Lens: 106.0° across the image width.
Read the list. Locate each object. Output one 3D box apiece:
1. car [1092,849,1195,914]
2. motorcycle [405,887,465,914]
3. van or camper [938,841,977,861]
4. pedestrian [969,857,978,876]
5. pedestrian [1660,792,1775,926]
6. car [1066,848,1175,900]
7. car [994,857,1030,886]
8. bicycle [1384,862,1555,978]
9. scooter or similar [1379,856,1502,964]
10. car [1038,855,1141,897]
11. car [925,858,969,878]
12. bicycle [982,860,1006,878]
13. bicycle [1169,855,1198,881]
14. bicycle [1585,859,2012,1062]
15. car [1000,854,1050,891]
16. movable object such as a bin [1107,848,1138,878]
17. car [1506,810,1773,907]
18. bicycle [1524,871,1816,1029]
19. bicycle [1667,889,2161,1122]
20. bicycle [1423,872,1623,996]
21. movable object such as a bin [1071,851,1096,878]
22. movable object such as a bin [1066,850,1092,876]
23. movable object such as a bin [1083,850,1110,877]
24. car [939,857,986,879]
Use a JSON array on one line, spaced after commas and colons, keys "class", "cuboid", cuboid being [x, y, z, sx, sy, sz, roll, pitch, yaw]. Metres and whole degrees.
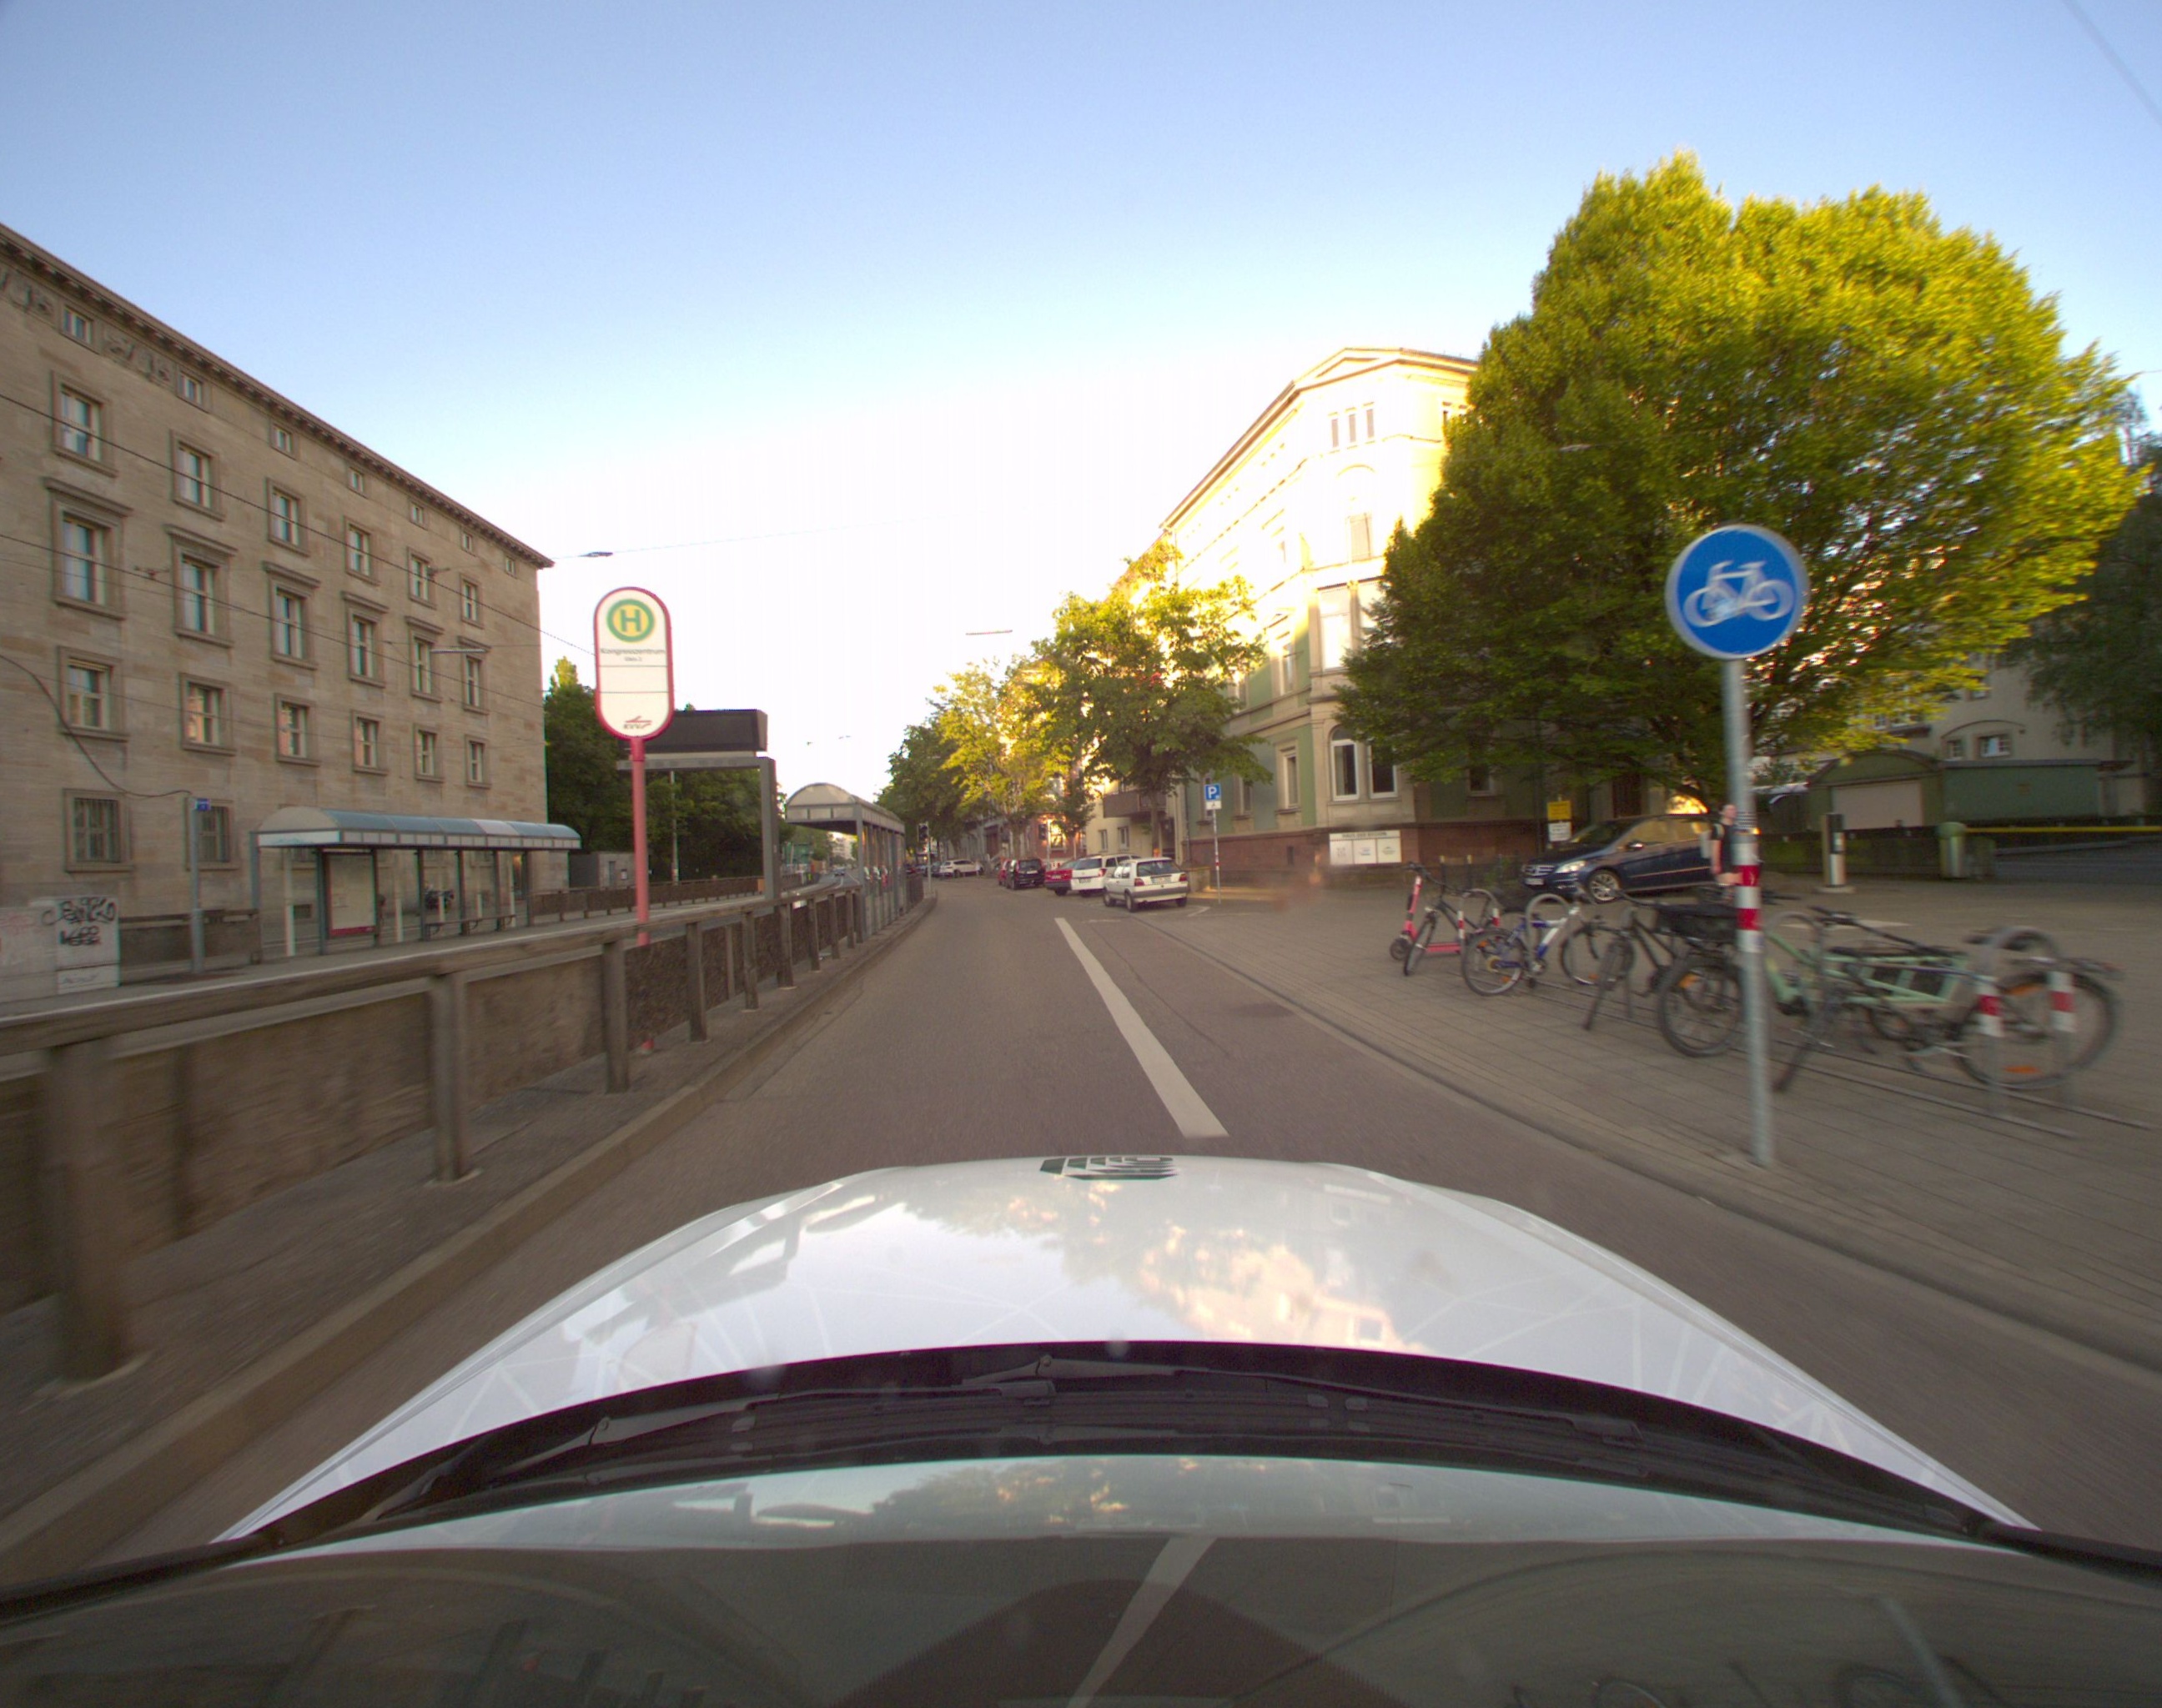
[{"class": "car", "cuboid": [1.687, 0.740, 23.547, 1.683, 1.552, 3.981, -6, 1, -14]}, {"class": "motorcycle", "cuboid": [-29.684, 2.127, 37.477, 0.697, 1.074, 2.650, -3, 0, -3]}, {"class": "van or camper", "cuboid": [-18.353, -0.481, 120.852, 2.059, 2.530, 5.586, -5, 1, 39]}, {"class": "pedestrian", "cuboid": [-9.161, 1.093, 69.615, 0.588, 1.609, 0.621, -2, 0, -17]}, {"class": "pedestrian", "cuboid": [8.873, 0.068, 11.384, 0.708, 1.768, 0.983, -2, 0, -18]}, {"class": "car", "cuboid": [1.538, 0.702, 30.297, 1.700, 1.725, 4.236, -2, 0, 42]}, {"class": "car", "cuboid": [-4.070, 1.002, 47.375, 1.566, 1.536, 3.678, -5, 0, -12]}, {"class": "bicycle", "cuboid": [4.293, 0.703, 9.077, 1.522, 1.162, 0.743, -2, 0, -2]}, {"class": "scooter or similar", "cuboid": [4.465, 0.679, 10.170, 1.197, 1.225, 0.590, -4, 0, -3]}, {"class": "car", "cuboid": [0.414, 0.839, 32.635, 1.624, 1.454, 4.235, -3, 0, 44]}, {"class": "car", "cuboid": [-13.267, 1.376, 80.856, 1.877, 1.668, 3.981, -5, 1, 36]}, {"class": "bicycle", "cuboid": [-6.695, 1.155, 62.647, 0.594, 1.266, 1.931, -3, 0, 39]}, {"class": "bicycle", "cuboid": [4.446, 0.599, 35.540, 0.652, 1.074, 1.547, -2, 0, -17]}, {"class": "bicycle", "cuboid": [4.762, 0.667, 5.505, 2.224, 1.132, 0.743, -4, 0, -2]}, {"class": "car", "cuboid": [-2.912, 0.925, 41.455, 1.746, 1.632, 4.069, -5, 0, -14]}, {"class": "movable object such as a bin", "cuboid": [2.160, 0.468, 42.775, 1.116, 1.502, 1.473, -2, 0, -17]}, {"class": "car", "cuboid": [10.646, 0.062, 15.697, 3.976, 1.574, 1.801, -3, 1, -4]}, {"class": "bicycle", "cuboid": [4.567, 0.712, 6.400, 1.750, 1.074, 0.743, -2, 0, -2]}, {"class": "bicycle", "cuboid": [4.452, 0.776, 4.452, 1.846, 1.074, 0.747, -2, 0, 14]}, {"class": "bicycle", "cuboid": [4.326, 0.758, 8.042, 1.547, 1.074, 0.743, -2, 0, -2]}, {"class": "movable object such as a bin", "cuboid": [0.133, 0.605, 48.094, 1.075, 1.502, 1.310, -2, 0, -19]}, {"class": "movable object such as a bin", "cuboid": [-0.139, 0.561, 50.292, 1.143, 1.502, 1.589, -2, 0, -17]}, {"class": "movable object such as a bin", "cuboid": [0.880, 0.545, 46.771, 1.143, 1.502, 1.263, -2, 0, -17]}, {"class": "car", "cuboid": [-10.704, 1.218, 73.582, 1.653, 1.626, 3.980, -3, 2, 43]}]
